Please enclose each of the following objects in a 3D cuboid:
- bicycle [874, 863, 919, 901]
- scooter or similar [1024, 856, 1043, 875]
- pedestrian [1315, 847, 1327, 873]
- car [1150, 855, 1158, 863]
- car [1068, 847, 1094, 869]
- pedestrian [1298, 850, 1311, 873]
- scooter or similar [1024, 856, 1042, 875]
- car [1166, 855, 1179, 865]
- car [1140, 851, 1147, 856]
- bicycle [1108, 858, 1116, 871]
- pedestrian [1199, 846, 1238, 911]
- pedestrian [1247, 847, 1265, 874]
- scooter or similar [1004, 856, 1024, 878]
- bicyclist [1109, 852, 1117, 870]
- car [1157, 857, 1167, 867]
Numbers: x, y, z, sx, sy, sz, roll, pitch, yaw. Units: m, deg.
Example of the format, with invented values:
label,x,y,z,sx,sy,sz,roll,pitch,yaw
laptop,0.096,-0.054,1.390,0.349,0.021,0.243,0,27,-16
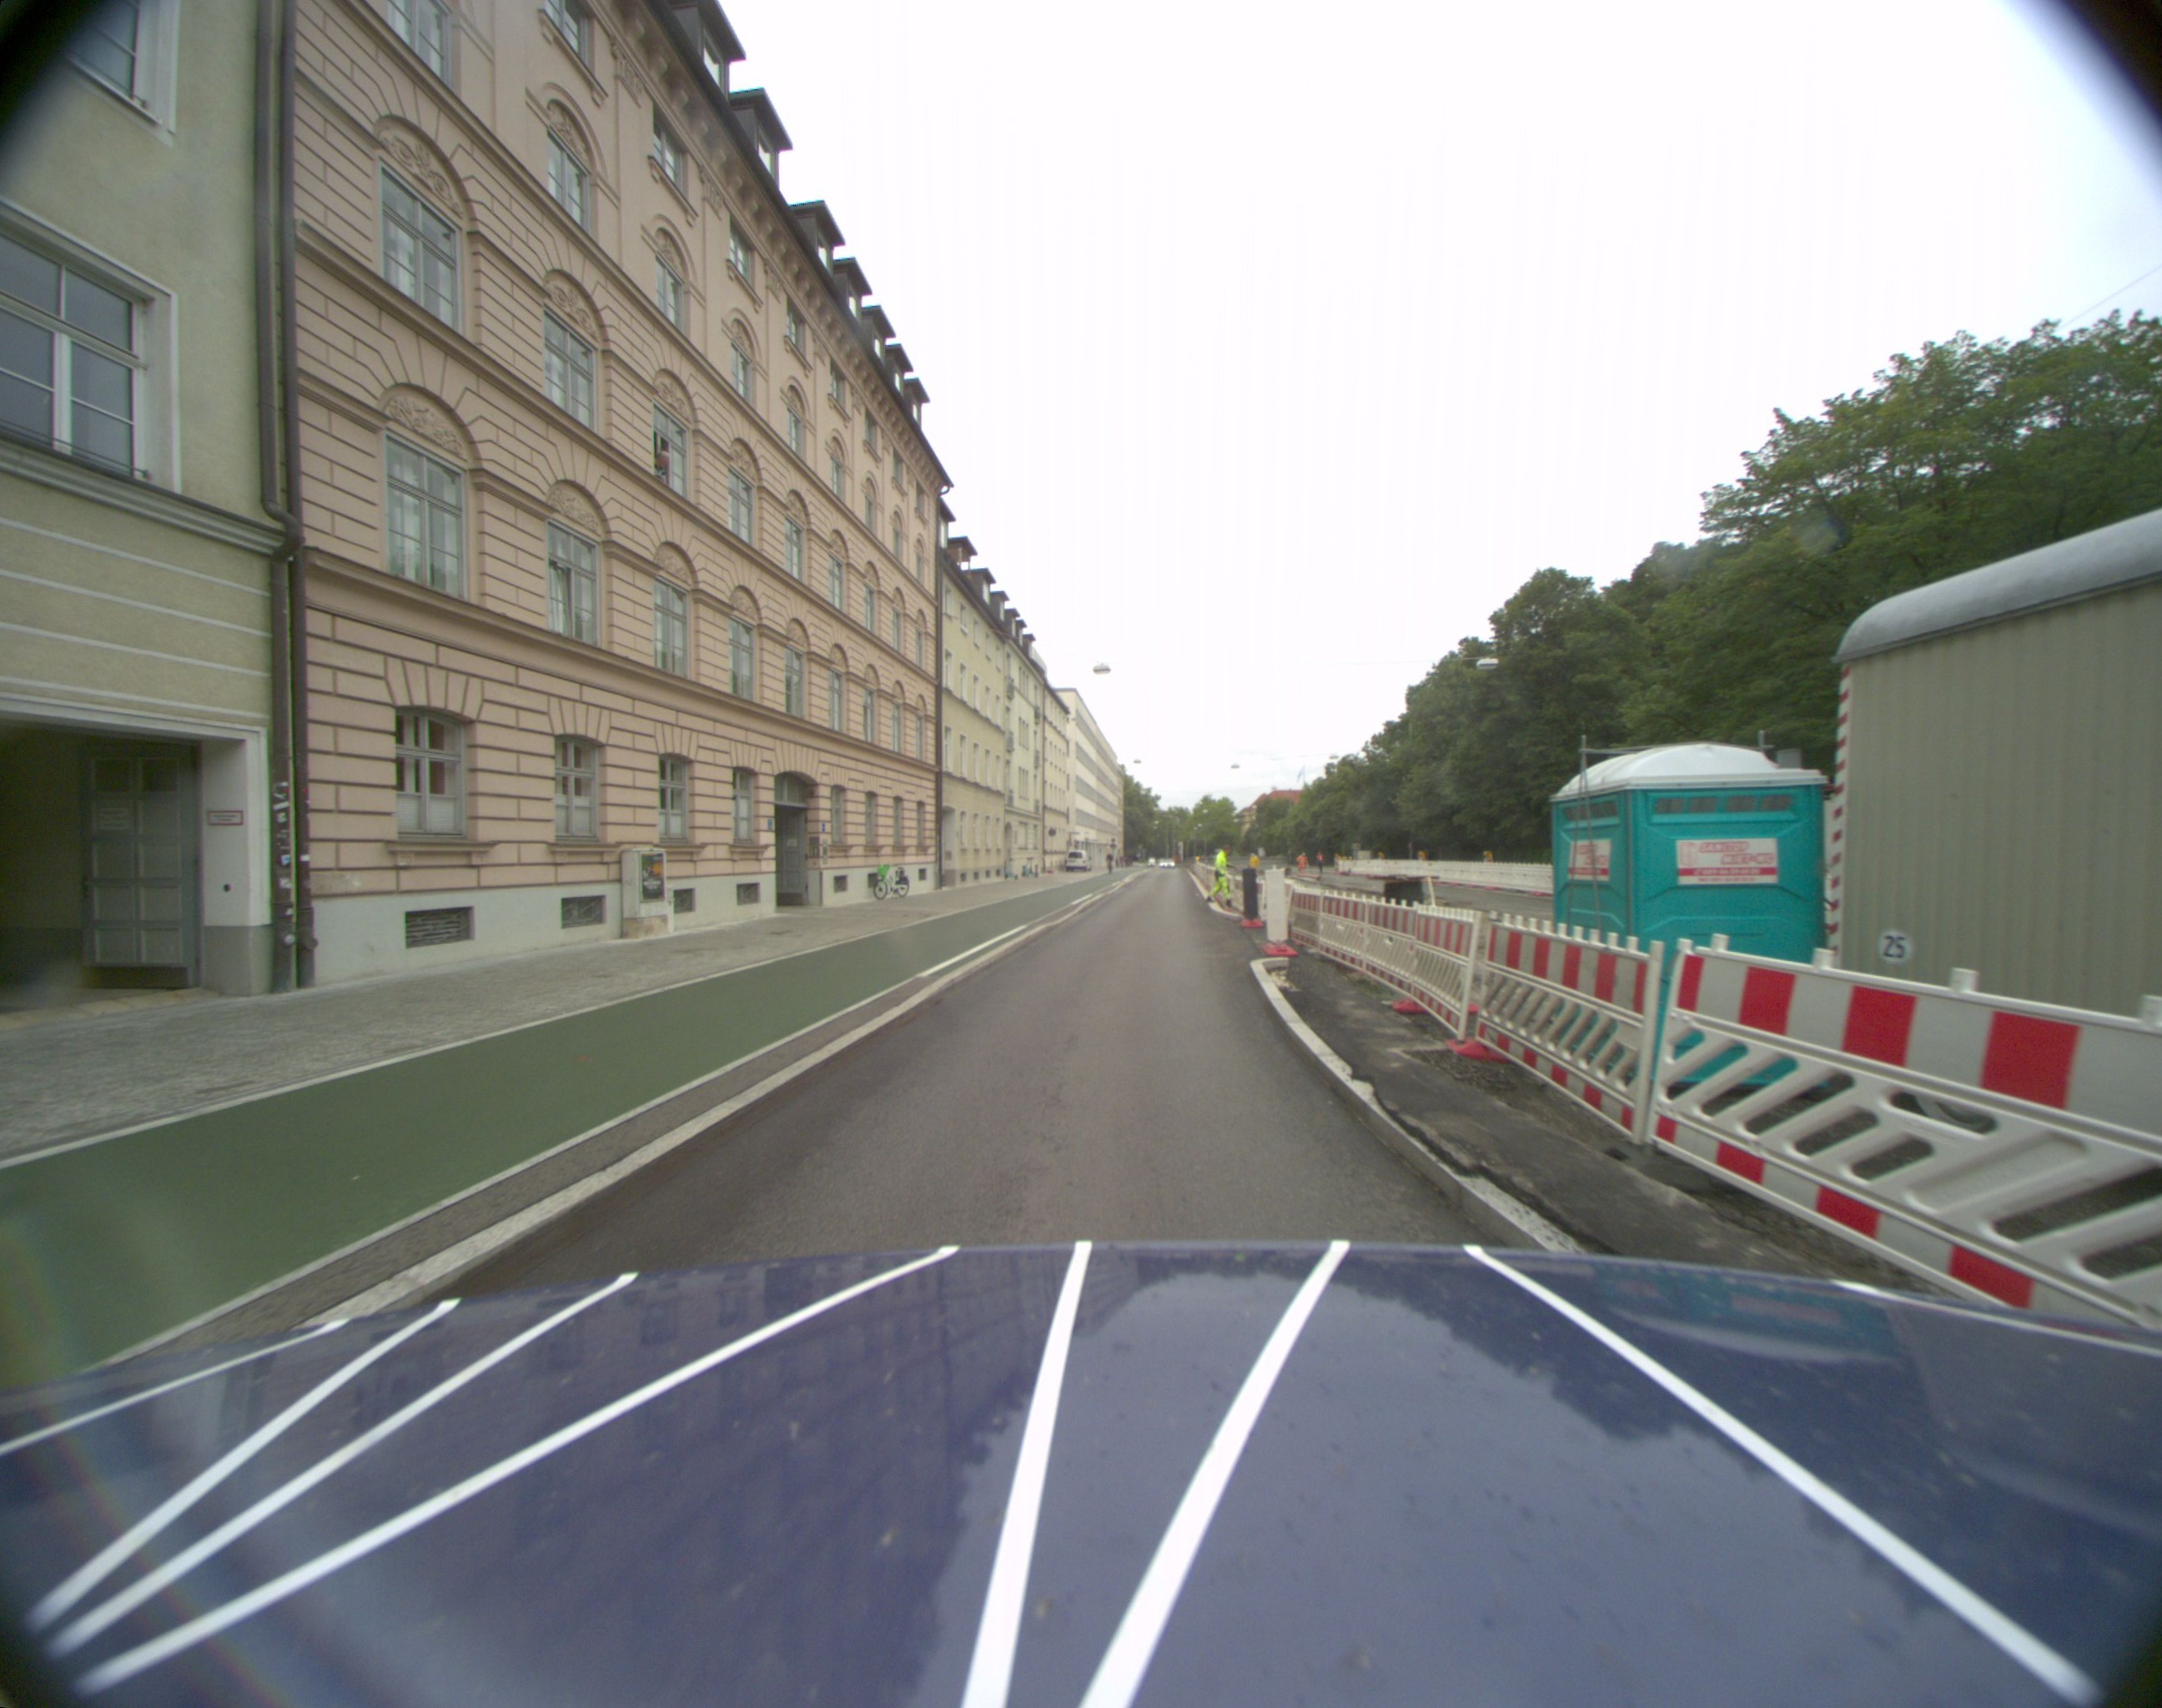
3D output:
label,x,y,z,sx,sy,sz,roll,pitch,yaw
bicycle,-6.042,0.910,24.979,0.556,1.170,1.728,0,1,22
scooter or similar,-3.023,0.748,48.191,1.078,1.185,0.453,0,1,-22
pedestrian,18.180,0.440,57.658,0.666,1.959,0.807,1,1,33
car,18.692,1.244,195.459,1.998,2.002,4.001,-2,1,5
car,0.020,0.288,65.524,1.765,1.821,4.002,0,0,7
pedestrian,17.064,0.566,58.061,0.899,1.678,0.912,0,1,10
scooter or similar,-3.127,0.753,49.549,1.079,1.185,0.436,0,1,-33
car,14.375,0.899,119.342,1.758,1.461,4.000,-2,0,2
car,19.268,-0.225,233.331,1.997,1.560,4.002,0,0,6
bicycle,2.493,0.835,61.354,0.632,1.031,2.018,0,0,1
pedestrian,3.985,0.703,21.903,0.991,1.792,0.816,-3,-1,12
pedestrian,11.956,0.409,51.939,0.858,1.826,0.877,1,1,42
scooter or similar,-3.831,0.745,43.402,0.552,1.238,1.079,1,1,42
bicyclist,2.564,0.562,61.366,0.632,1.459,0.653,0,1,0
car,17.005,1.695,159.299,1.997,2.002,4.002,-2,1,8
